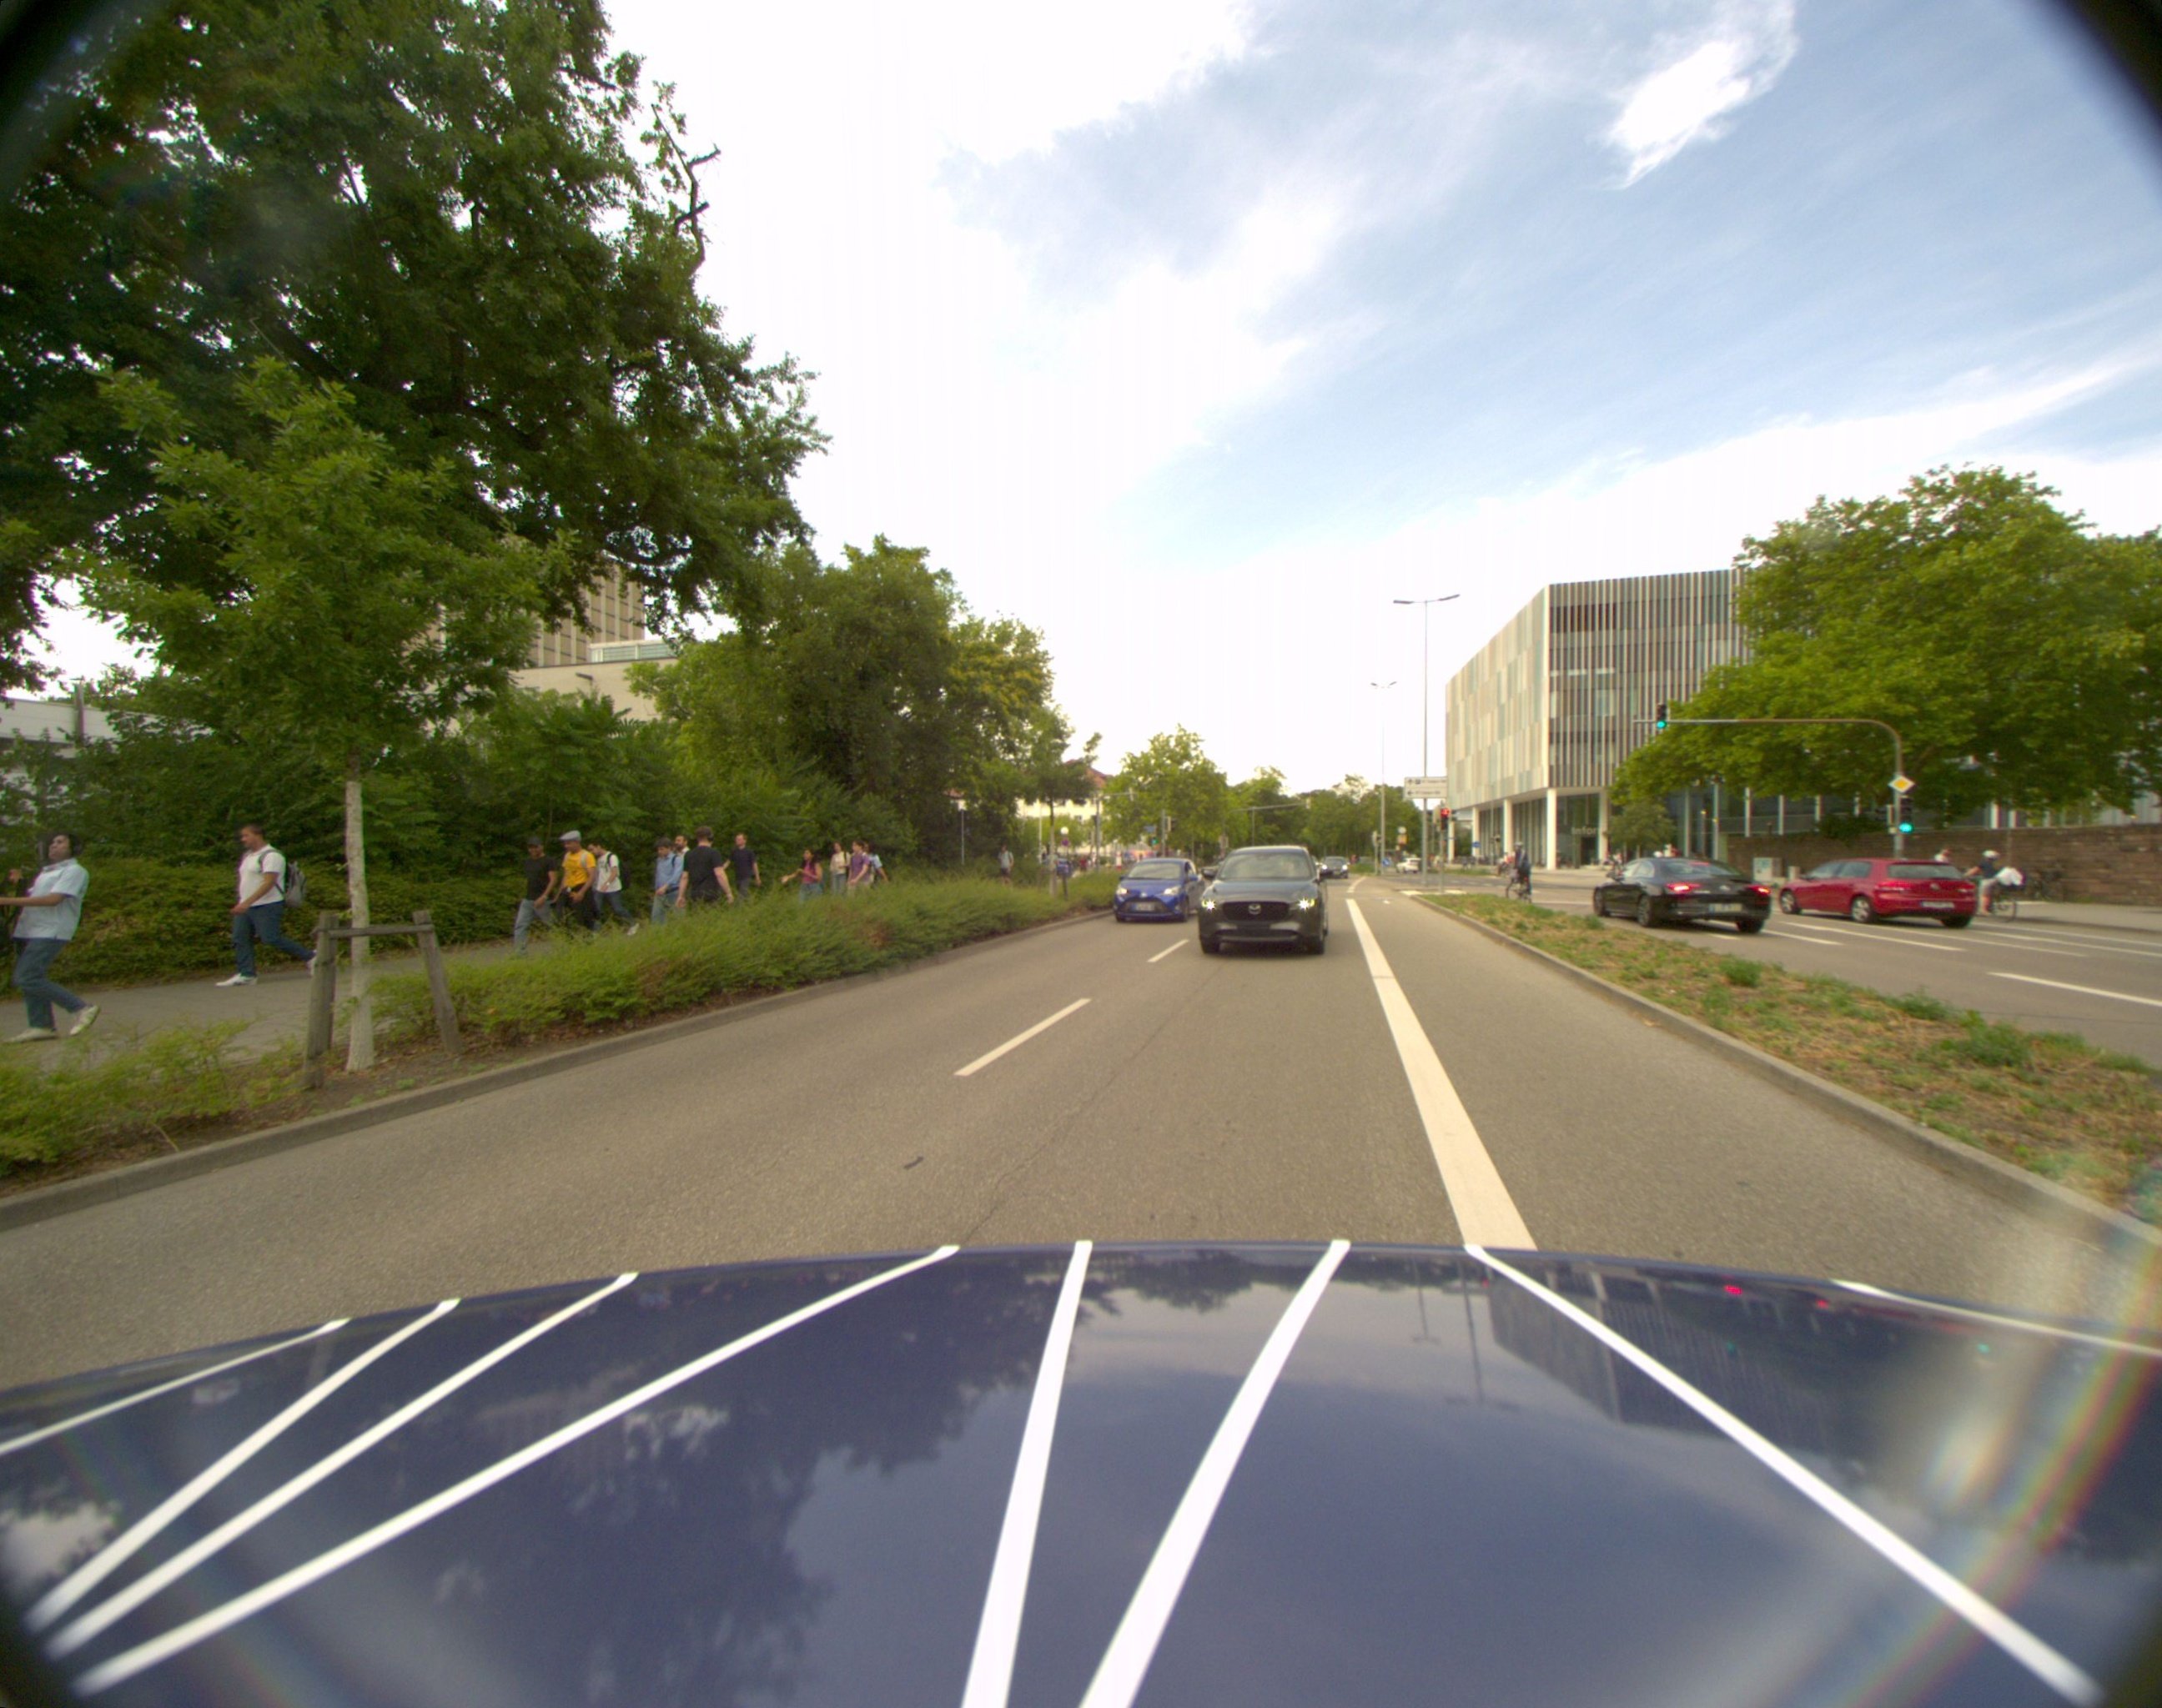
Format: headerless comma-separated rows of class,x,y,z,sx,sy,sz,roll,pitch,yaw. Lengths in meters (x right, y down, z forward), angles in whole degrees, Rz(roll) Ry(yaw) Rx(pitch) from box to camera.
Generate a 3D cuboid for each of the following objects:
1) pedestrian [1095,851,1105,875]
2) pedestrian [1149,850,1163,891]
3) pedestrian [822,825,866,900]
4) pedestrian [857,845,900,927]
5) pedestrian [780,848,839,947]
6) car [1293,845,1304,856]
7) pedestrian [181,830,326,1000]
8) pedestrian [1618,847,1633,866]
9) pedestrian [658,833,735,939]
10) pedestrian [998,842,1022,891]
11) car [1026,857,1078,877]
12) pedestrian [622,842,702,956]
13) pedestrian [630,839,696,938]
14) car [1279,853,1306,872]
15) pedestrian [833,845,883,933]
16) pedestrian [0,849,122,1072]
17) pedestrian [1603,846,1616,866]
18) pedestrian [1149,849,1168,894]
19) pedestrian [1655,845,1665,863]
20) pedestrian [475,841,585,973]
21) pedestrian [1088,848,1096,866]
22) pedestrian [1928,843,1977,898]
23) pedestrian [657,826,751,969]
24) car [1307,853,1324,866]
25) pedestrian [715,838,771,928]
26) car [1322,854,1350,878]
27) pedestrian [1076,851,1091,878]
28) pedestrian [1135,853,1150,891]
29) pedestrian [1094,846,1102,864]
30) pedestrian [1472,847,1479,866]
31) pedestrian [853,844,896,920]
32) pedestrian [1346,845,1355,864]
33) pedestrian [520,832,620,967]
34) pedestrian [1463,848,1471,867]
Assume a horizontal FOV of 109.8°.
pedestrian,1.437,0.681,57.850,0.646,1.841,0.829,-1,1,4
pedestrian,3.163,0.699,32.036,0.454,1.725,0.637,0,1,16
pedestrian,-5.612,0.186,18.030,0.657,1.735,0.781,0,1,16
pedestrian,-4.407,0.676,16.575,0.582,1.735,0.790,0,1,16
pedestrian,-4.910,0.761,13.764,0.657,1.735,0.781,0,1,16
car,37.592,-0.629,131.245,1.863,1.871,4.005,0,0,17
pedestrian,-8.949,0.619,8.242,0.722,1.734,0.813,0,1,18
pedestrian,46.348,0.205,64.676,0.731,1.591,0.677,-1,1,-16
pedestrian,-6.621,0.541,13.119,0.657,1.756,0.959,-2,0,16
pedestrian,-2.617,0.455,27.961,0.645,1.785,0.741,0,1,16
car,-2.179,0.961,57.712,3.576,1.483,1.676,0,1,14
pedestrian,-6.270,0.646,11.392,0.657,1.638,0.813,0,1,16
pedestrian,-7.427,0.593,13.530,0.657,1.689,0.781,0,1,16
car,17.176,0.645,61.871,1.659,1.455,4.003,0,0,9
pedestrian,-4.480,0.684,15.292,0.625,1.735,0.781,0,1,16
pedestrian,-8.039,0.759,5.697,0.776,1.593,0.813,0,1,18
pedestrian,45.743,0.202,65.764,0.731,1.730,0.677,-1,1,-19
pedestrian,2.991,0.667,29.247,0.602,1.725,0.655,0,1,16
pedestrian,56.242,-0.012,73.784,0.597,1.768,0.635,-1,1,-30
pedestrian,-7.298,0.661,10.108,0.657,1.657,0.972,0,1,16
pedestrian,1.162,0.316,81.382,0.687,1.951,0.601,-2,1,-25
pedestrian,28.822,0.519,25.136,0.747,1.772,0.782,-1,2,-17
pedestrian,-5.105,0.546,10.292,0.889,1.820,0.934,-1,1,-45
car,28.772,0.683,93.427,1.659,1.455,4.004,-2,0,13
pedestrian,-6.654,0.552,14.993,0.657,1.735,0.781,0,1,16
car,17.265,0.776,51.322,1.658,1.455,4.005,-2,1,20
pedestrian,0.196,0.715,52.784,0.768,1.794,0.893,-1,0,20
pedestrian,2.705,0.795,33.565,0.546,1.677,0.637,0,1,16
pedestrian,1.833,0.126,81.698,0.687,1.951,0.601,-2,1,-25
pedestrian,38.156,0.263,73.534,0.511,1.826,0.625,0,0,14
pedestrian,-4.848,0.632,17.865,0.657,1.735,0.781,0,1,16
pedestrian,26.578,0.069,75.066,0.726,1.843,1.065,0,1,13
pedestrian,-6.661,0.570,9.937,0.657,1.679,0.843,0,1,16
pedestrian,37.390,0.346,73.630,0.511,1.826,0.773,0,0,14
